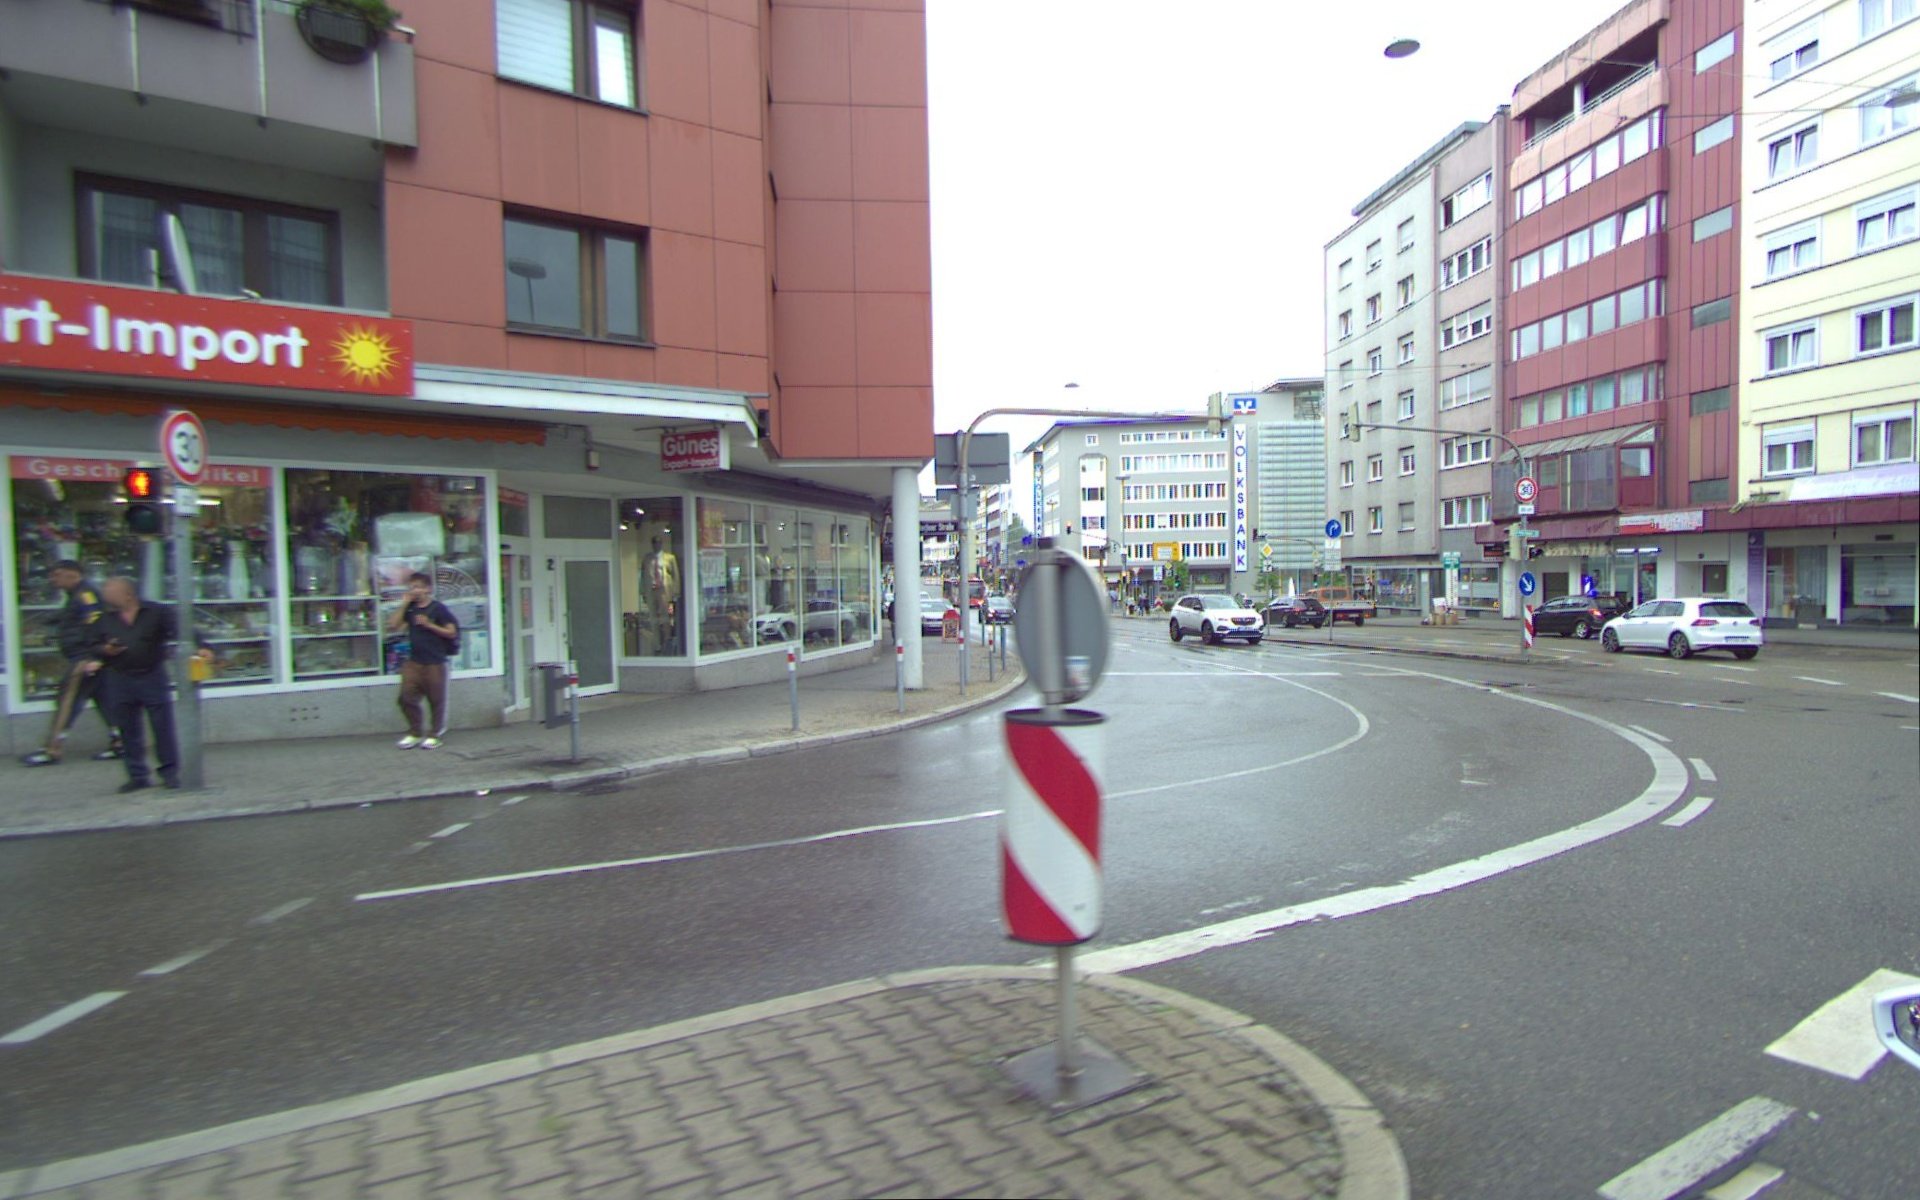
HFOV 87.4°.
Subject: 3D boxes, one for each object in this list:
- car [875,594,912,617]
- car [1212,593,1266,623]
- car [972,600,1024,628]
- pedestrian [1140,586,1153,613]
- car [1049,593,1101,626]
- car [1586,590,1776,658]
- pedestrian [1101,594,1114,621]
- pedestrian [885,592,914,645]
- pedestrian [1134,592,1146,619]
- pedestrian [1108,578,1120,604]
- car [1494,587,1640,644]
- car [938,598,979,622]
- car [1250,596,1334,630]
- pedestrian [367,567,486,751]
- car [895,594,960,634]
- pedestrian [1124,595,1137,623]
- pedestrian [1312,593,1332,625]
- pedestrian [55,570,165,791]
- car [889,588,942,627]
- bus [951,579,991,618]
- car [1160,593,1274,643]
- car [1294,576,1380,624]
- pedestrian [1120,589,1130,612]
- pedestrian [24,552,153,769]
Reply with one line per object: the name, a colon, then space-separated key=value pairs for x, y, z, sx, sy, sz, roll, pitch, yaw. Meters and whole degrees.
car: x=-4.463 y=0.327 z=67.062 sx=1.964 sy=1.501 sz=4.726 roll=0 pitch=0 yaw=-10
car: x=16.448 y=0.430 z=59.461 sx=1.893 sy=1.535 sz=4.663 roll=4 pitch=1 yaw=2
car: x=2.070 y=0.767 z=56.801 sx=1.964 sy=1.501 sz=4.726 roll=0 pitch=0 yaw=-10
pedestrian: x=14.011 y=-0.029 z=75.352 sx=0.797 sy=2.040 sz=0.855 roll=2 pitch=0 yaw=3
car: x=7.406 y=0.589 z=65.091 sx=1.965 sy=1.813 sz=4.725 roll=2 pitch=2 yaw=-11
car: x=18.193 y=0.543 z=25.625 sx=1.842 sy=1.515 sz=4.401 roll=-1 pitch=1 yaw=3
pedestrian: x=11.320 y=0.549 z=77.070 sx=0.797 sy=2.040 sz=0.855 roll=2 pitch=0 yaw=3
pedestrian: x=-1.958 y=0.585 z=32.344 sx=0.815 sy=1.647 sz=0.722 roll=1 pitch=1 yaw=-12
pedestrian: x=13.886 y=0.412 z=77.512 sx=0.797 sy=2.040 sz=0.855 roll=2 pitch=0 yaw=3
pedestrian: x=12.078 y=-0.705 z=78.821 sx=0.797 sy=2.040 sz=0.855 roll=2 pitch=0 yaw=3
car: x=21.123 y=0.481 z=35.217 sx=1.797 sy=1.680 sz=4.486 roll=3 pitch=1 yaw=-10
car: x=-0.125 y=0.642 z=67.920 sx=1.964 sy=1.501 sz=4.726 roll=0 pitch=0 yaw=-10
car: x=15.613 y=0.587 z=47.505 sx=1.964 sy=1.506 sz=4.228 roll=2 pitch=0 yaw=-11
pedestrian: x=-5.606 y=0.600 z=10.595 sx=0.813 sy=1.856 sz=0.724 roll=2 pitch=1 yaw=1
car: x=-1.421 y=0.548 z=41.387 sx=1.964 sy=1.426 sz=4.726 roll=2 pitch=1 yaw=-10
pedestrian: x=12.967 y=0.680 z=76.375 sx=0.797 sy=2.040 sz=0.855 roll=2 pitch=0 yaw=3
pedestrian: x=23.468 y=0.601 z=65.088 sx=0.846 sy=2.040 sz=0.806 roll=1 pitch=0 yaw=-36
pedestrian: x=-6.930 y=0.626 z=8.213 sx=0.618 sy=1.720 sz=0.550 roll=1 pitch=1 yaw=-36
car: x=-2.171 y=0.304 z=47.756 sx=1.964 sy=1.640 sz=4.727 roll=2 pitch=1 yaw=-9
bus: x=1.072 y=-0.076 z=109.018 sx=2.866 sy=4.006 sz=9.471 roll=0 pitch=-1 yaw=-9
car: x=8.626 y=0.559 z=34.196 sx=1.964 sy=1.577 sz=4.726 roll=0 pitch=0 yaw=-10
car: x=19.420 y=-0.076 z=52.091 sx=2.206 sy=2.258 sz=5.426 roll=3 pitch=1 yaw=-1
pedestrian: x=15.063 y=0.063 z=91.863 sx=0.797 sy=2.040 sz=0.855 roll=2 pitch=0 yaw=3
pedestrian: x=-8.003 y=0.520 z=9.238 sx=0.838 sy=1.873 sz=0.753 roll=1 pitch=1 yaw=-43
